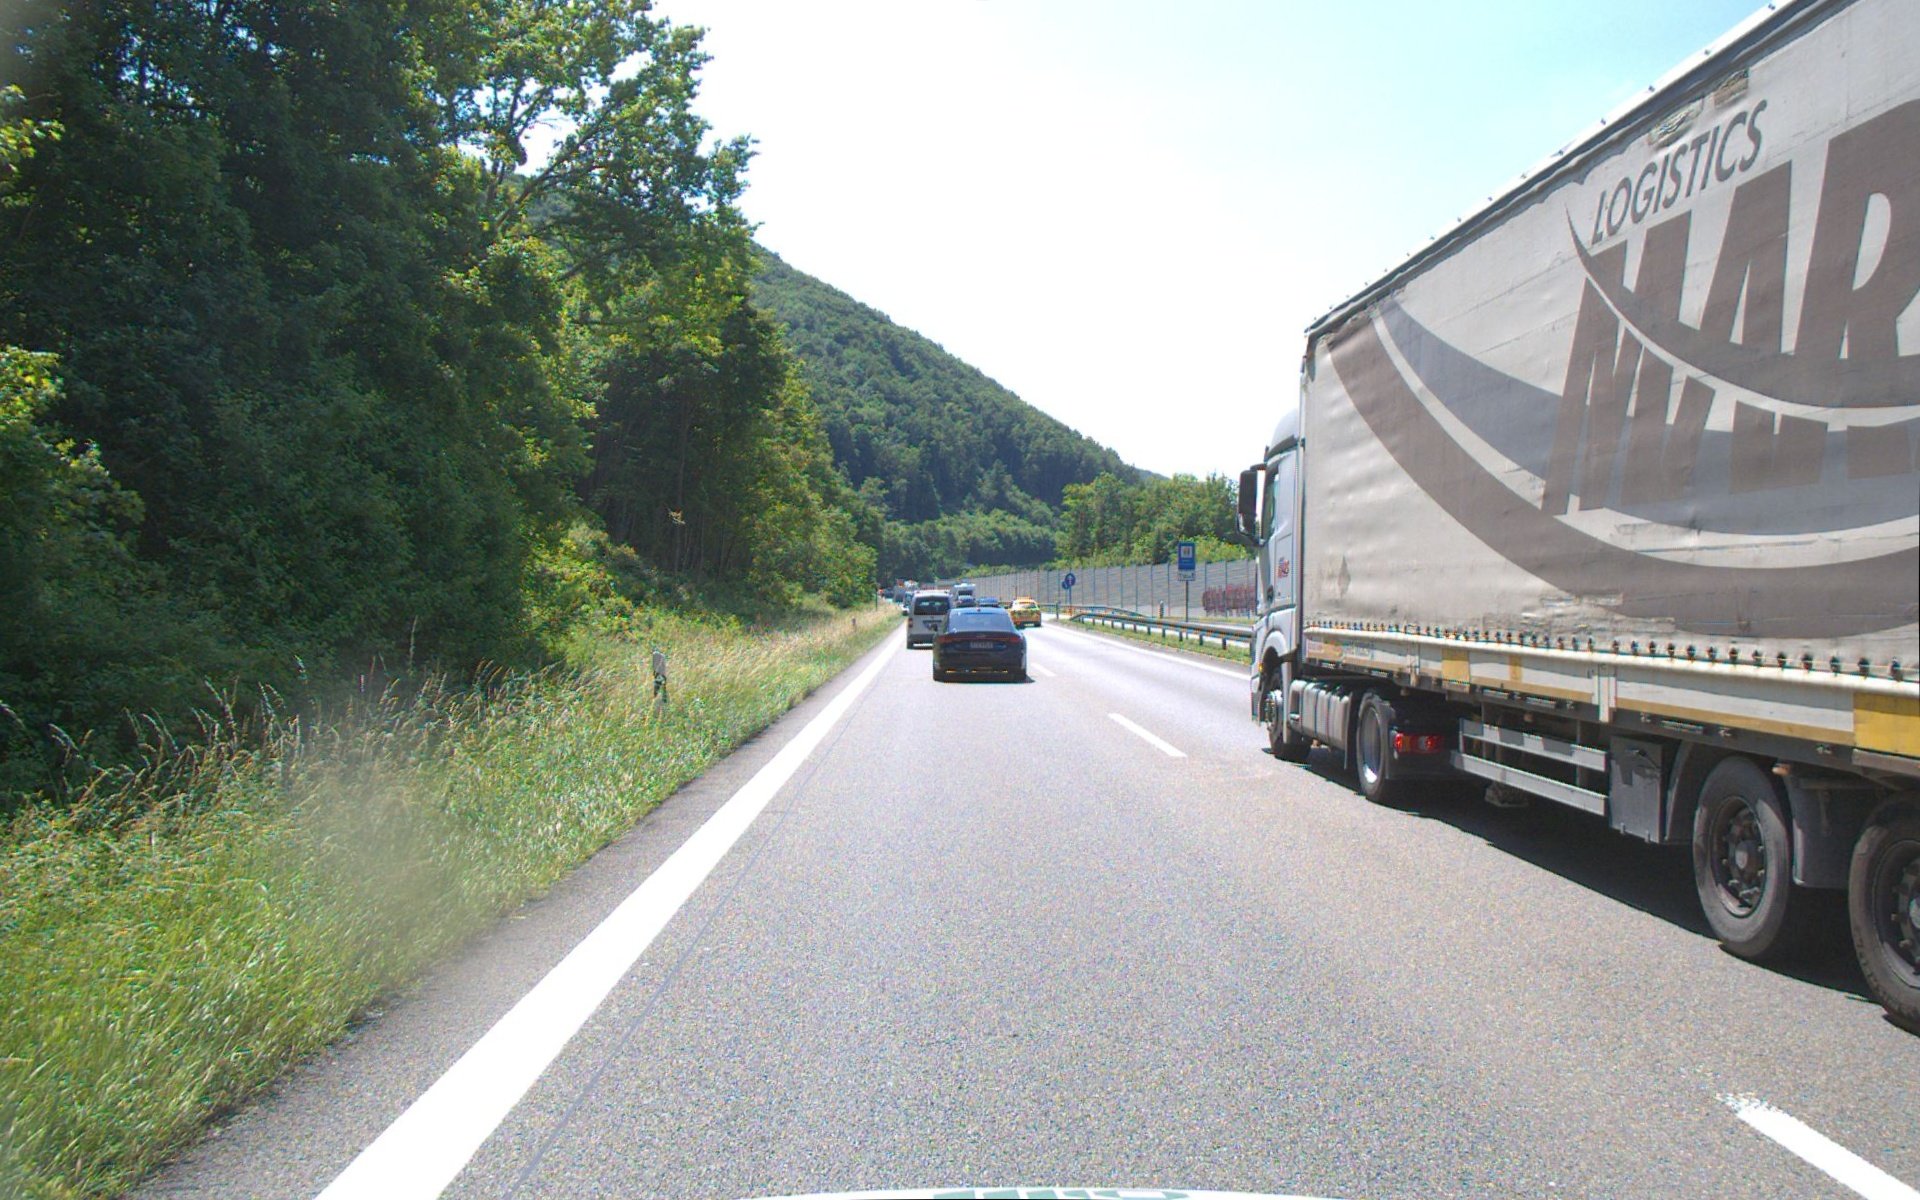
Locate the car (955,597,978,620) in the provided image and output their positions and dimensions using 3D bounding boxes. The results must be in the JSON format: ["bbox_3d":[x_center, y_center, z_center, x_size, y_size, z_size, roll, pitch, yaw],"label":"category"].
[{"bbox_3d":[0.598,0.827,160.210,2.044,2.049,3.999,3,-1,-1],"label":"car"}]

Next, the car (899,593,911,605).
[{"bbox_3d":[-7.239,-0.116,217.975,1.459,1.522,3.589,3,-1,-1],"label":"car"}]

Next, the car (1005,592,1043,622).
[{"bbox_3d":[3.462,0.389,90.349,1.841,1.525,3.999,2,0,-1],"label":"car"}]

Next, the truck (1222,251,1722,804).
[{"bbox_3d":[4.400,-0.515,15.565,2.664,4.139,5.752,2,-1,-2],"label":"truck"}]

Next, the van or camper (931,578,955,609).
[{"bbox_3d":[-2.282,-0.847,221.396,2.739,3.975,6.163,3,-1,-3],"label":"van or camper"}]

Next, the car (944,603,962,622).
[{"bbox_3d":[-0.595,1.112,148.365,1.499,1.551,3.596,3,-1,-1],"label":"car"}]

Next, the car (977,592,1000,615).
[{"bbox_3d":[2.116,0.290,123.364,1.499,1.551,3.596,3,-1,-1],"label":"car"}]

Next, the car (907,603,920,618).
[{"bbox_3d":[-5.420,1.271,193.898,1.459,1.694,3.589,3,-1,-1],"label":"car"}]

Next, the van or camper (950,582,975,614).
[{"bbox_3d":[0.218,-0.158,174.818,2.380,3.210,5.202,3,-1,-1],"label":"van or camper"}]

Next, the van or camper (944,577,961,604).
[{"bbox_3d":[-1.130,-1.389,250.232,2.399,3.753,6.586,3,-1,-1],"label":"van or camper"}]

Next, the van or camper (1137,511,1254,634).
[{"bbox_3d":[8.104,-0.852,57.652,2.739,3.908,6.163,3,-1,-3],"label":"van or camper"}]

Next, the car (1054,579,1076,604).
[{"bbox_3d":[8.675,-0.709,136.969,1.544,2.049,3.427,1,0,-1],"label":"car"}]

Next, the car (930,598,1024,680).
[{"bbox_3d":[0.293,0.741,33.306,1.775,1.541,3.513,0,1,-1],"label":"car"}]

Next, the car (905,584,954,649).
[{"bbox_3d":[-1.034,0.553,55.332,1.490,2.002,3.513,4,-1,-1],"label":"car"}]

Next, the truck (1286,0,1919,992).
[{"bbox_3d":[4.638,-0.625,8.523,2.671,4.139,13.735,2,-1,-2],"label":"truck"}]
